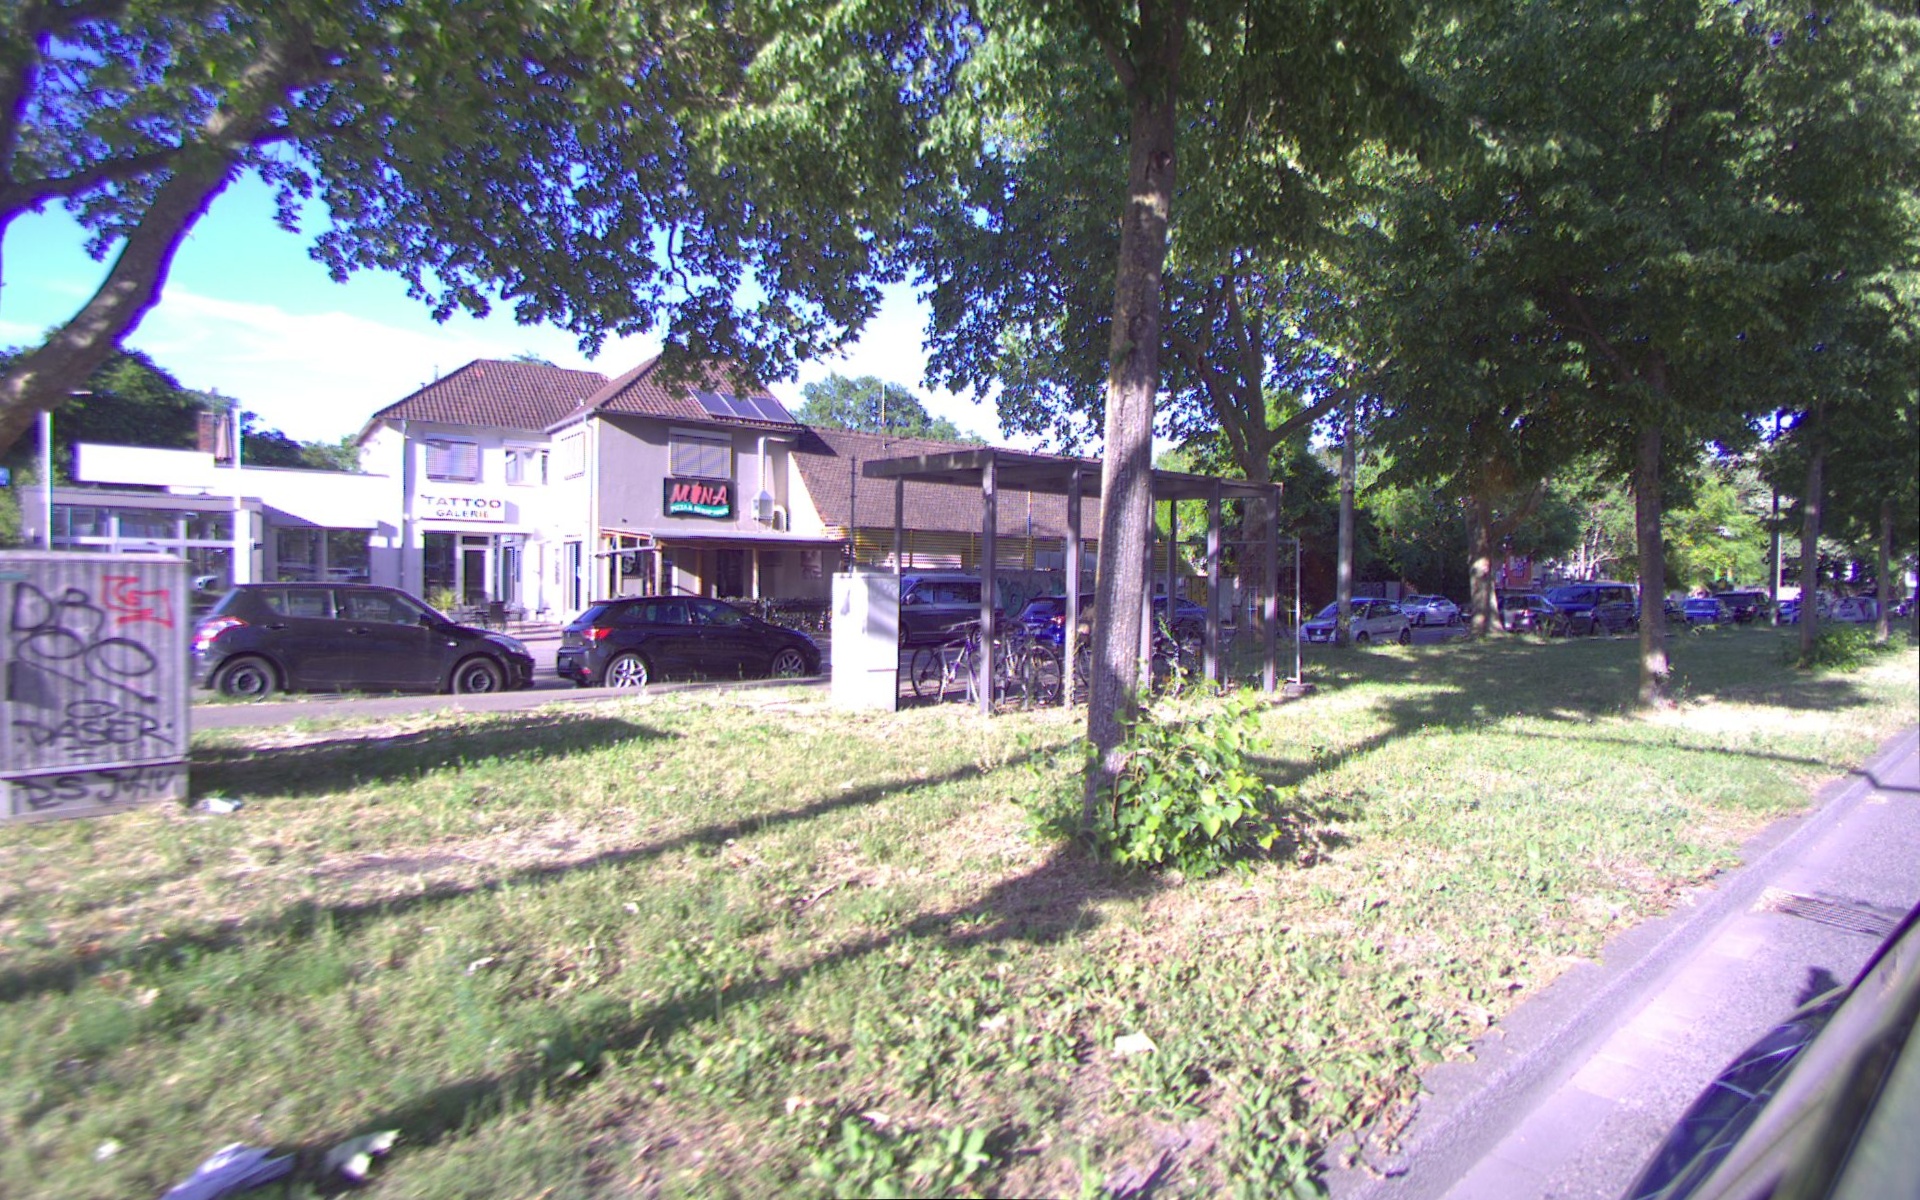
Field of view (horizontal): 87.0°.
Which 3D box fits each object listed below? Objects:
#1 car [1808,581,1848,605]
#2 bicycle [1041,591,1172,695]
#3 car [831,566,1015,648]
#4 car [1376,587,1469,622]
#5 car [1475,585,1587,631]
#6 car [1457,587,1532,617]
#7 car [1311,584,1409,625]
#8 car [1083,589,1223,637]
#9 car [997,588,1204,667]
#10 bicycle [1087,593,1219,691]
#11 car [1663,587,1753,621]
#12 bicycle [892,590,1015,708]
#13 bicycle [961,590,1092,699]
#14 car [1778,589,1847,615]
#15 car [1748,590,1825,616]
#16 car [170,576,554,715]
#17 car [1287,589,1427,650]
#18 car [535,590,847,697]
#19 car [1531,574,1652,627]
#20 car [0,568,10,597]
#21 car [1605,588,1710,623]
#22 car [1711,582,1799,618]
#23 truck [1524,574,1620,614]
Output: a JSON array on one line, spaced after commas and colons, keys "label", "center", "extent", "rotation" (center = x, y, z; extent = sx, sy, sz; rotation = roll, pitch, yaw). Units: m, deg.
[{"label": "car", "center": [75.149, -0.594, 87.604], "extent": [3.929, 2.039, 1.997], "rotation": [0, 1, -40]}, {"label": "bicycle", "center": [1.775, 0.489, 12.480], "extent": [0.541, 1.184, 1.700], "rotation": [0, 0, -39]}, {"label": "car", "center": [-0.969, 0.148, 28.330], "extent": [4.979, 2.061, 1.899], "rotation": [0, 3, -39]}, {"label": "car", "center": [21.271, 0.182, 46.472], "extent": [4.569, 1.548, 1.999], "rotation": [0, 1, -38]}, {"label": "car", "center": [18.555, 0.215, 32.831], "extent": [3.844, 1.397, 1.942], "rotation": [0, 1, -40]}, {"label": "car", "center": [26.531, 0.063, 50.226], "extent": [4.095, 1.420, 1.796], "rotation": [0, 1, -38]}, {"label": "car", "center": [17.054, 0.165, 43.051], "extent": [4.574, 1.548, 1.997], "rotation": [0, 3, -42]}, {"label": "car", "center": [6.602, 0.392, 34.354], "extent": [4.821, 1.504, 1.899], "rotation": [0, 1, -36]}, {"label": "car", "center": [3.032, 0.497, 21.406], "extent": [4.265, 1.507, 1.899], "rotation": [0, 1, -37]}, {"label": "bicycle", "center": [2.489, 0.506, 13.235], "extent": [0.541, 1.184, 1.808], "rotation": [0, 0, -37]}, {"label": "car", "center": [32.311, 0.144, 43.665], "extent": [4.778, 1.380, 1.998], "rotation": [0, 1, -39]}, {"label": "bicycle", "center": [-0.107, 0.490, 11.109], "extent": [0.540, 1.184, 1.703], "rotation": [0, 0, -32]}, {"label": "bicycle", "center": [0.746, 0.480, 11.857], "extent": [0.541, 1.184, 1.700], "rotation": [0, 0, -38]}, {"label": "car", "center": [45.087, 0.075, 53.484], "extent": [4.464, 1.332, 1.998], "rotation": [0, 1, -39]}, {"label": "car", "center": [40.874, 0.105, 50.028], "extent": [4.037, 1.226, 1.999], "rotation": [0, 1, -36]}, {"label": "car", "center": [-7.451, 0.468, 12.775], "extent": [3.963, 1.484, 1.898], "rotation": [0, 1, -38]}, {"label": "car", "center": [10.711, 0.461, 27.213], "extent": [3.979, 1.504, 1.897], "rotation": [0, 1, -41]}, {"label": "car", "center": [-4.059, 0.561, 15.574], "extent": [4.266, 1.429, 1.899], "rotation": [0, 1, -38]}, {"label": "car", "center": [22.472, -0.012, 35.960], "extent": [4.928, 1.764, 2.038], "rotation": [0, 1, -37]}, {"label": "car", "center": [-50.419, -0.895, 50.498], "extent": [3.934, 1.484, 2.004], "rotation": [1, 0, -15]}, {"label": "car", "center": [27.114, 0.188, 39.286], "extent": [4.568, 1.265, 1.999], "rotation": [0, 1, -37]}, {"label": "car", "center": [36.678, -0.021, 46.676], "extent": [4.566, 1.616, 2.000], "rotation": [0, 1, -35]}, {"label": "truck", "center": [33.834, -0.329, 55.851], "extent": [6.461, 2.101, 2.455], "rotation": [0, 1, -38]}]
